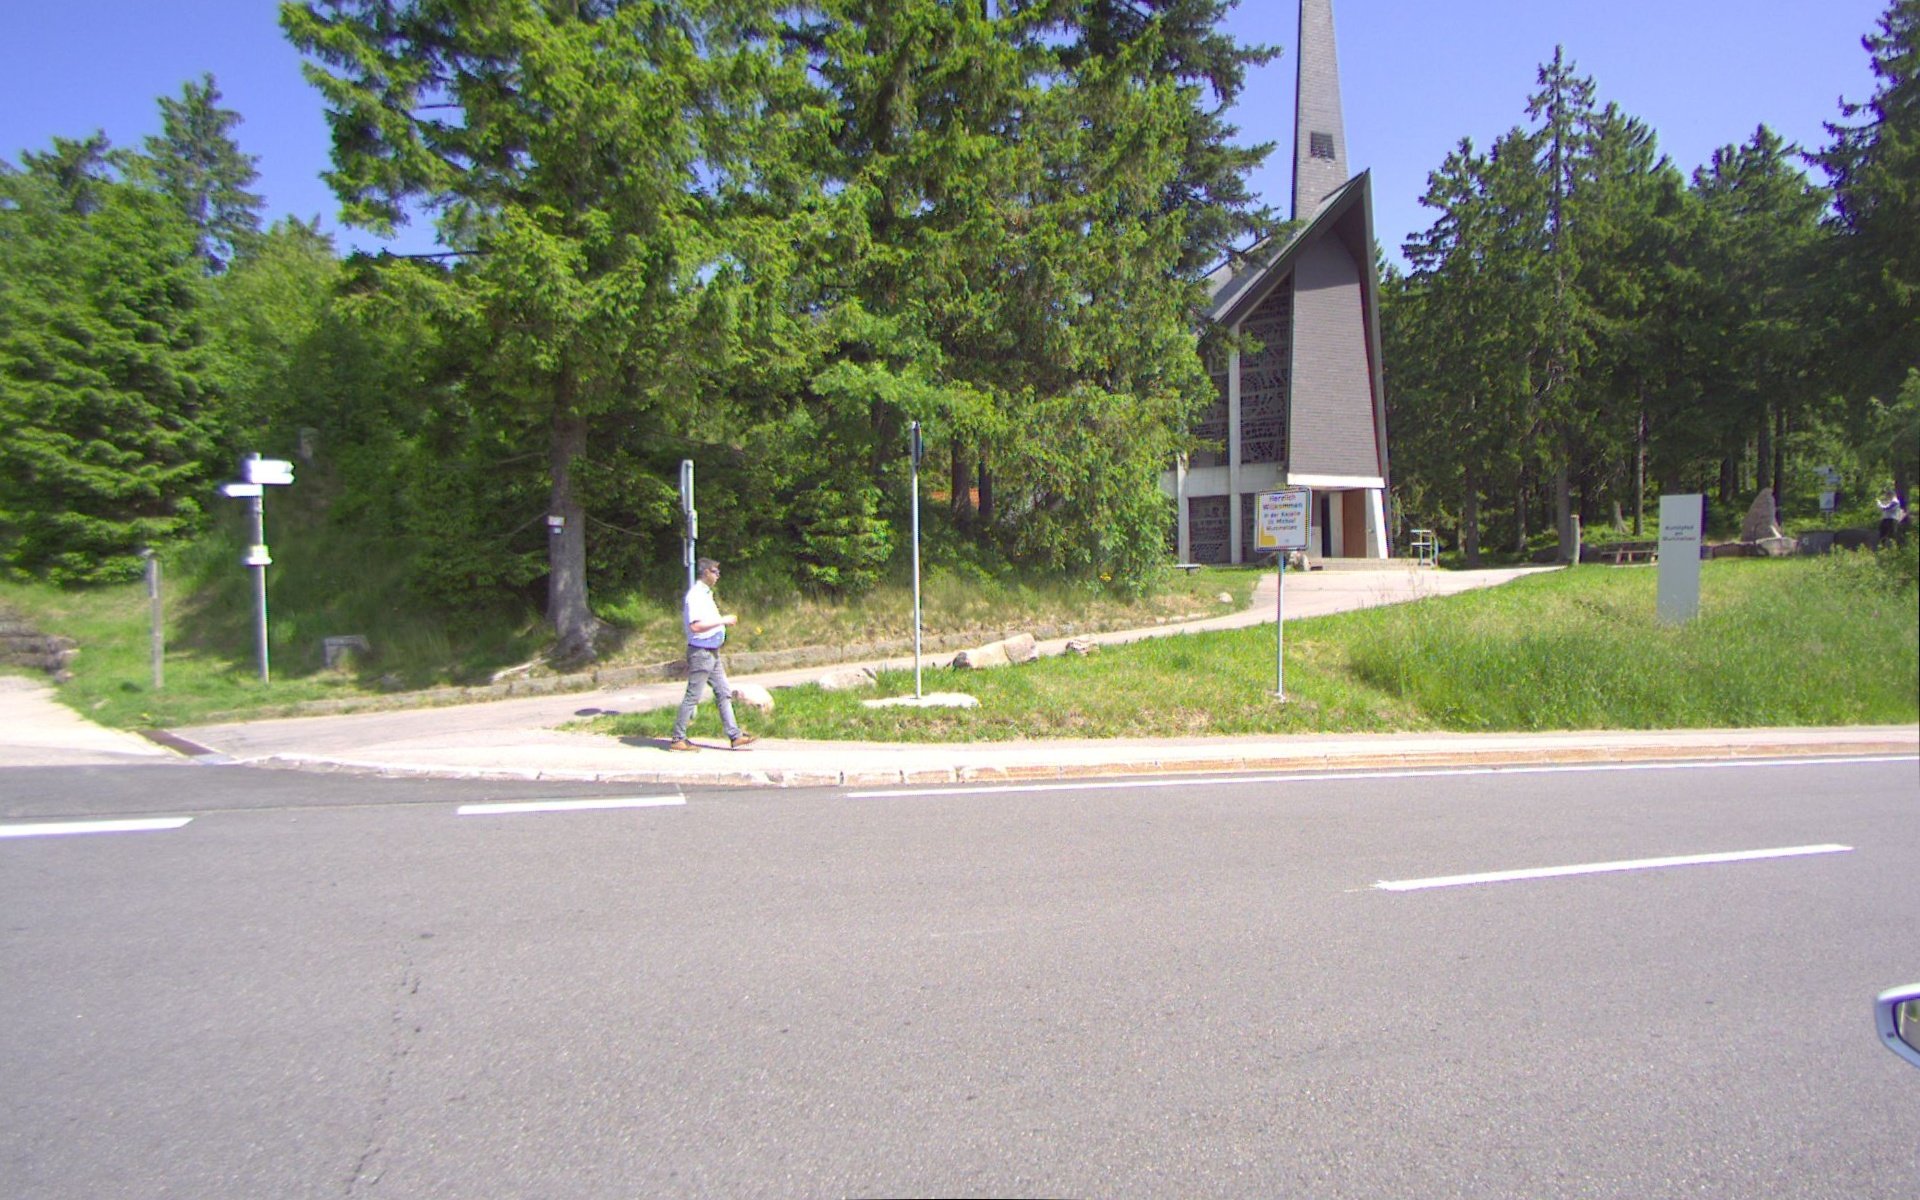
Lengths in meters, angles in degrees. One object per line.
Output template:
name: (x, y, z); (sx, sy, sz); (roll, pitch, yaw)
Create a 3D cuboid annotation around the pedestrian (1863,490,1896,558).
pedestrian: (26.775, -2.207, 29.259); (0.672, 1.903, 0.539); (1, -1, 41)

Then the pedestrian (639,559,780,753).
pedestrian: (-2.311, 0.513, 9.433); (1.141, 1.721, 0.978); (1, -1, -8)
